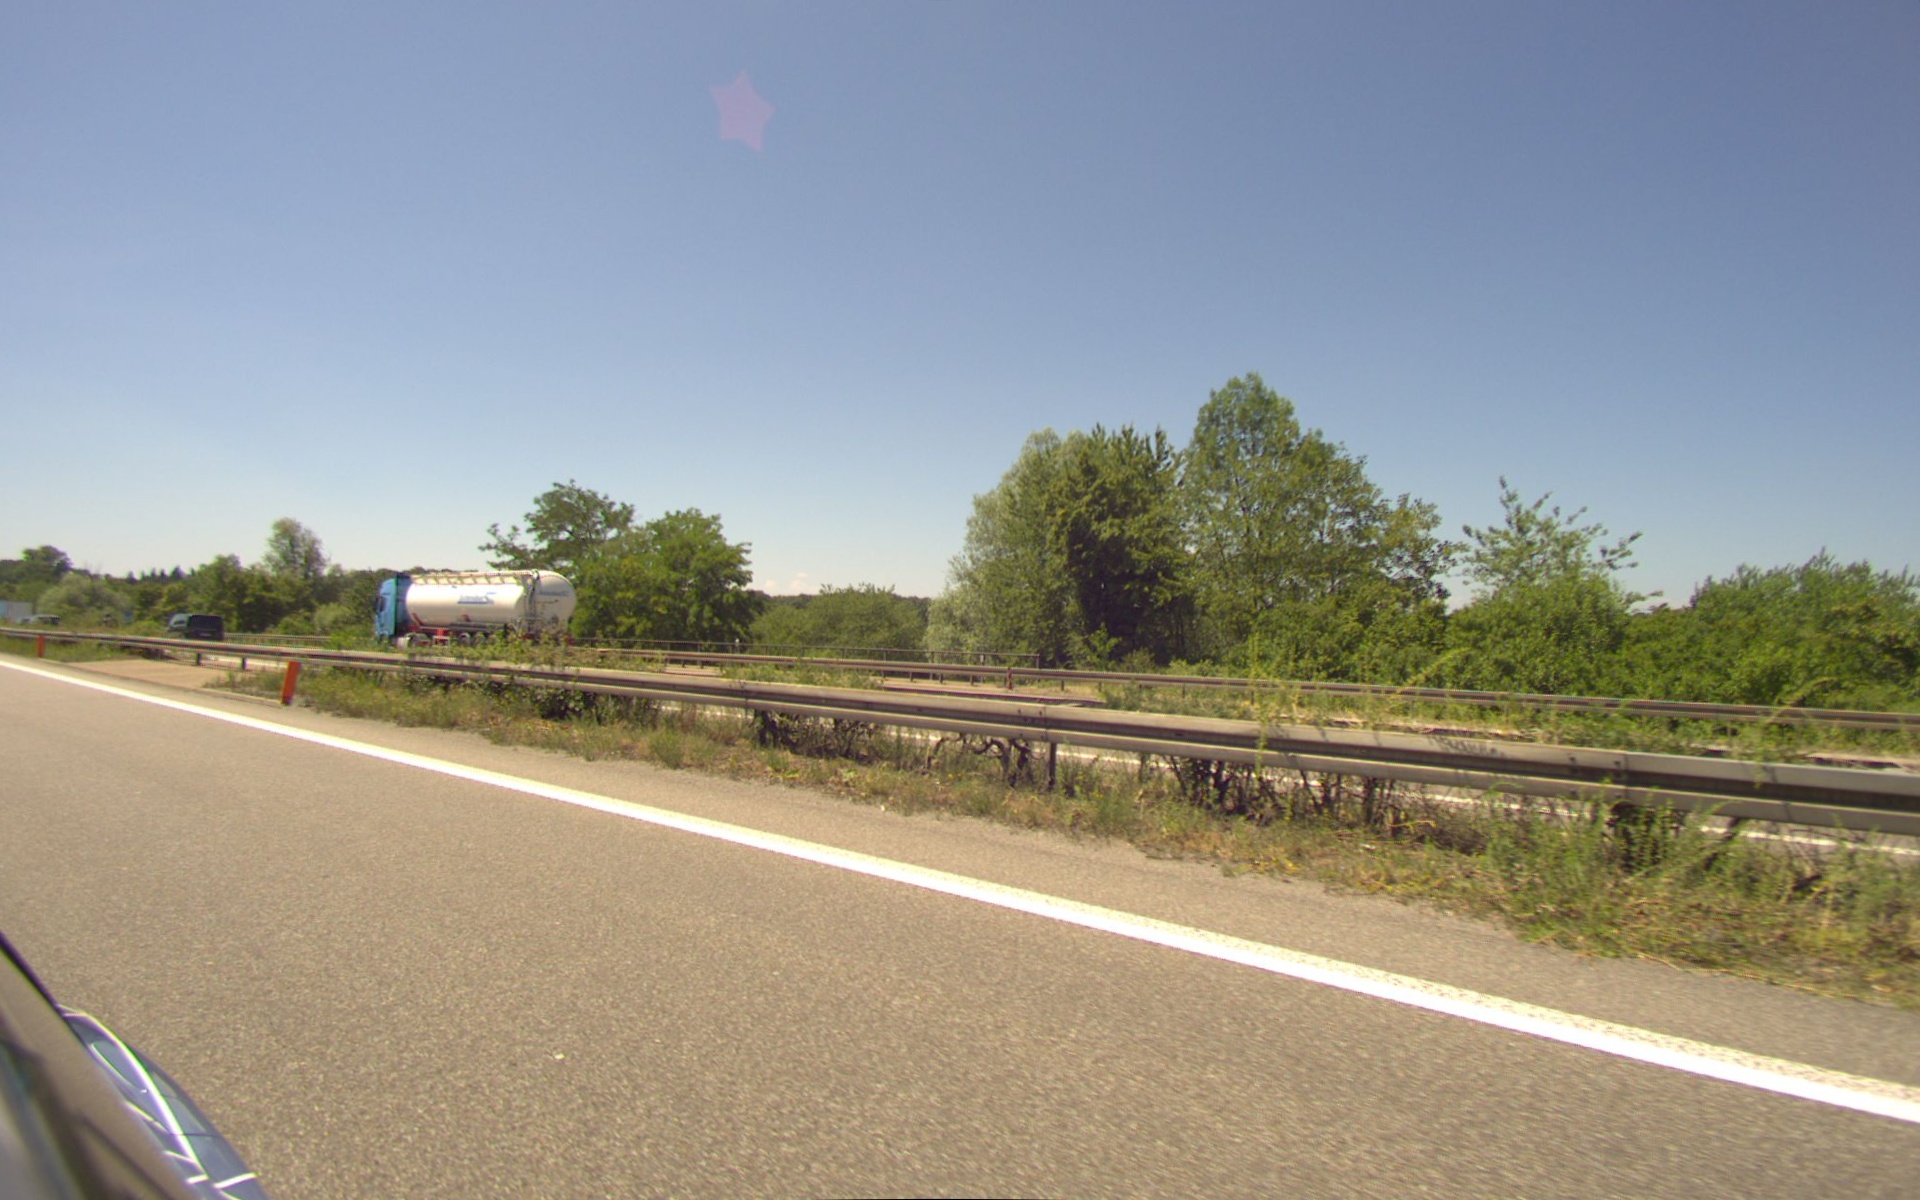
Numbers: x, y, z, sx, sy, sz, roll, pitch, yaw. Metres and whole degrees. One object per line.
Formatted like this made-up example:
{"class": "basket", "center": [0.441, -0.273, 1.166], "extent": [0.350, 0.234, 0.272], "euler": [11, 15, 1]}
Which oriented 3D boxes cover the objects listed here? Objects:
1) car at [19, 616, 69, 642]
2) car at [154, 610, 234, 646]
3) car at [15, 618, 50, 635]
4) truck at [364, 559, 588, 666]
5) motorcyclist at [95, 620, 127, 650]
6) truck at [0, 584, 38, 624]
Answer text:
{"class": "car", "center": [-61.962, 1.956, 68.428], "extent": [4.090, 1.744, 1.973], "euler": [-1, -3, 40]}
{"class": "car", "center": [-43.711, 1.602, 57.721], "extent": [5.779, 1.932, 2.388], "euler": [-1, -3, 40]}
{"class": "car", "center": [-89.832, 2.573, 97.991], "extent": [3.997, 1.630, 1.973], "euler": [-1, -3, 40]}
{"class": "truck", "center": [-21.891, 0.522, 44.847], "extent": [15.927, 4.083, 2.700], "euler": [0, -2, 41]}
{"class": "motorcyclist", "center": [-43.971, 1.812, 52.415], "extent": [1.333, 1.532, 0.962], "euler": [0, -4, 39]}
{"class": "truck", "center": [-123.437, 0.624, 131.213], "extent": [16.844, 4.756, 3.193], "euler": [-1, -5, 40]}
